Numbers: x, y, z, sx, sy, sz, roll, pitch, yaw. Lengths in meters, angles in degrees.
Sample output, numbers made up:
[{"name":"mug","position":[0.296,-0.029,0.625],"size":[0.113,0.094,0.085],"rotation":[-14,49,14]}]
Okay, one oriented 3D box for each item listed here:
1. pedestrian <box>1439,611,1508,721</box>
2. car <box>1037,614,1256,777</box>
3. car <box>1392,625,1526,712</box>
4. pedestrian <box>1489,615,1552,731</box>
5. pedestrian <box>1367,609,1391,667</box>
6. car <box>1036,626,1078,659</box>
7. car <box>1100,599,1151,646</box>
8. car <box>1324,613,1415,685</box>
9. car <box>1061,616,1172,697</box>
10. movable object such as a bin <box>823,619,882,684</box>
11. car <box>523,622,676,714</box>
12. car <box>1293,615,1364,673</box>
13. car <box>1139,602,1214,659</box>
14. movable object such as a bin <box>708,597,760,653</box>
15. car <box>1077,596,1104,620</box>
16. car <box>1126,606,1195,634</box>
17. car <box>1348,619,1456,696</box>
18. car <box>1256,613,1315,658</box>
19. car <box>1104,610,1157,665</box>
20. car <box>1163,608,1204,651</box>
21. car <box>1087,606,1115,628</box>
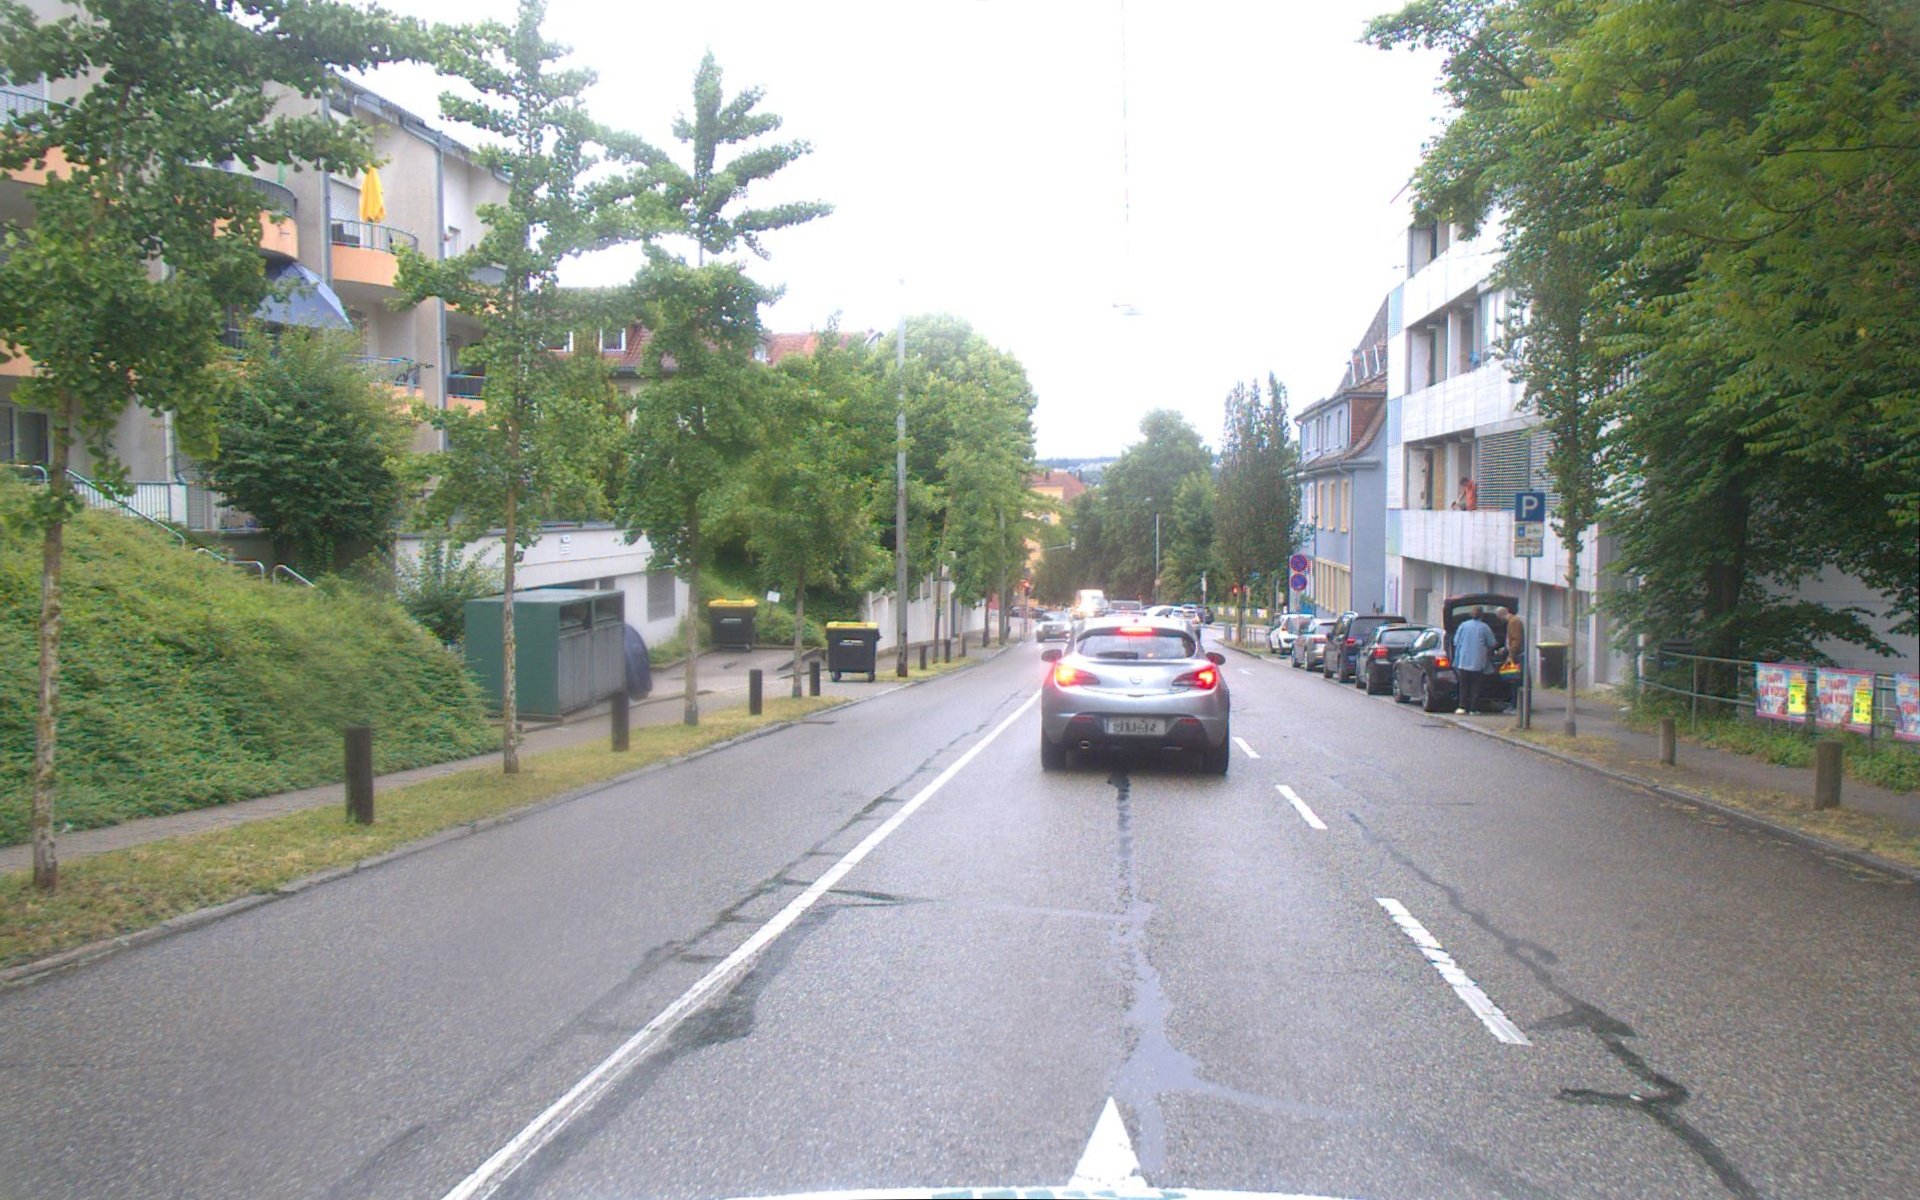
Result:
[{"name":"pedestrian","position":[8.485,1.079,27.337],"size":[0.726,1.754,0.758],"rotation":[-2,0,-28]},{"name":"car","position":[1.787,0.884,17.008],"size":[1.905,1.457,3.885],"rotation":[1,-1,1]},{"name":"car","position":[8.868,1.178,29.684],"size":[1.472,1.460,4.002],"rotation":[0,-1,4]},{"name":"pedestrian","position":[9.282,1.192,27.416],"size":[0.675,1.868,0.662],"rotation":[-2,0,-17]},{"name":"pedestrian","position":[13.388,1.208,52.846],"size":[0.631,1.815,0.542],"rotation":[1,0,6]},{"name":"car","position":[4.866,2.107,82.799],"size":[1.811,1.495,4.090],"rotation":[-3,-1,6]},{"name":"car","position":[8.146,1.070,81.324],"size":[2.285,2.071,4.738],"rotation":[3,1,6]},{"name":"car","position":[9.864,1.139,40.089],"size":[1.650,1.598,4.003],"rotation":[0,0,7]},{"name":"car","position":[2.952,1.043,31.952],"size":[1.761,1.346,4.000],"rotation":[2,1,0]},{"name":"movable object such as a bin","position":[-2.429,1.168,37.584],"size":[1.245,1.411,0.489],"rotation":[2,0,3]},{"name":"car","position":[-6.575,1.199,30.541],"size":[1.705,1.482,3.885],"rotation":[-3,-1,3]},{"name":"car","position":[10.507,1.229,47.390],"size":[1.550,1.519,4.293],"rotation":[0,0,7]},{"name":"car","position":[6.510,0.897,50.021],"size":[1.920,1.497,3.953],"rotation":[3,1,4]},{"name":"movable object such as a bin","position":[-5.934,0.657,43.524],"size":[1.245,1.411,0.489],"rotation":[2,0,3]},{"name":"car","position":[10.683,0.606,134.961],"size":[1.951,1.815,4.003],"rotation":[3,1,6]},{"name":"car","position":[12.270,1.224,101.227],"size":[3.799,1.505,1.815],"rotation":[-3,0,-23]},{"name":"car","position":[9.349,1.179,35.244],"size":[1.645,1.489,4.003],"rotation":[0,0,7]},{"name":"car","position":[12.235,1.306,62.368],"size":[1.866,1.598,4.003],"rotation":[0,0,7]},{"name":"car","position":[6.367,1.370,62.118],"size":[1.732,1.812,3.978],"rotation":[3,1,4]},{"name":"car","position":[12.088,1.556,89.650],"size":[1.952,2.071,4.738],"rotation":[3,1,6]},{"name":"car","position":[10.899,1.287,127.577],"size":[1.952,1.562,4.312],"rotation":[3,1,6]}]
